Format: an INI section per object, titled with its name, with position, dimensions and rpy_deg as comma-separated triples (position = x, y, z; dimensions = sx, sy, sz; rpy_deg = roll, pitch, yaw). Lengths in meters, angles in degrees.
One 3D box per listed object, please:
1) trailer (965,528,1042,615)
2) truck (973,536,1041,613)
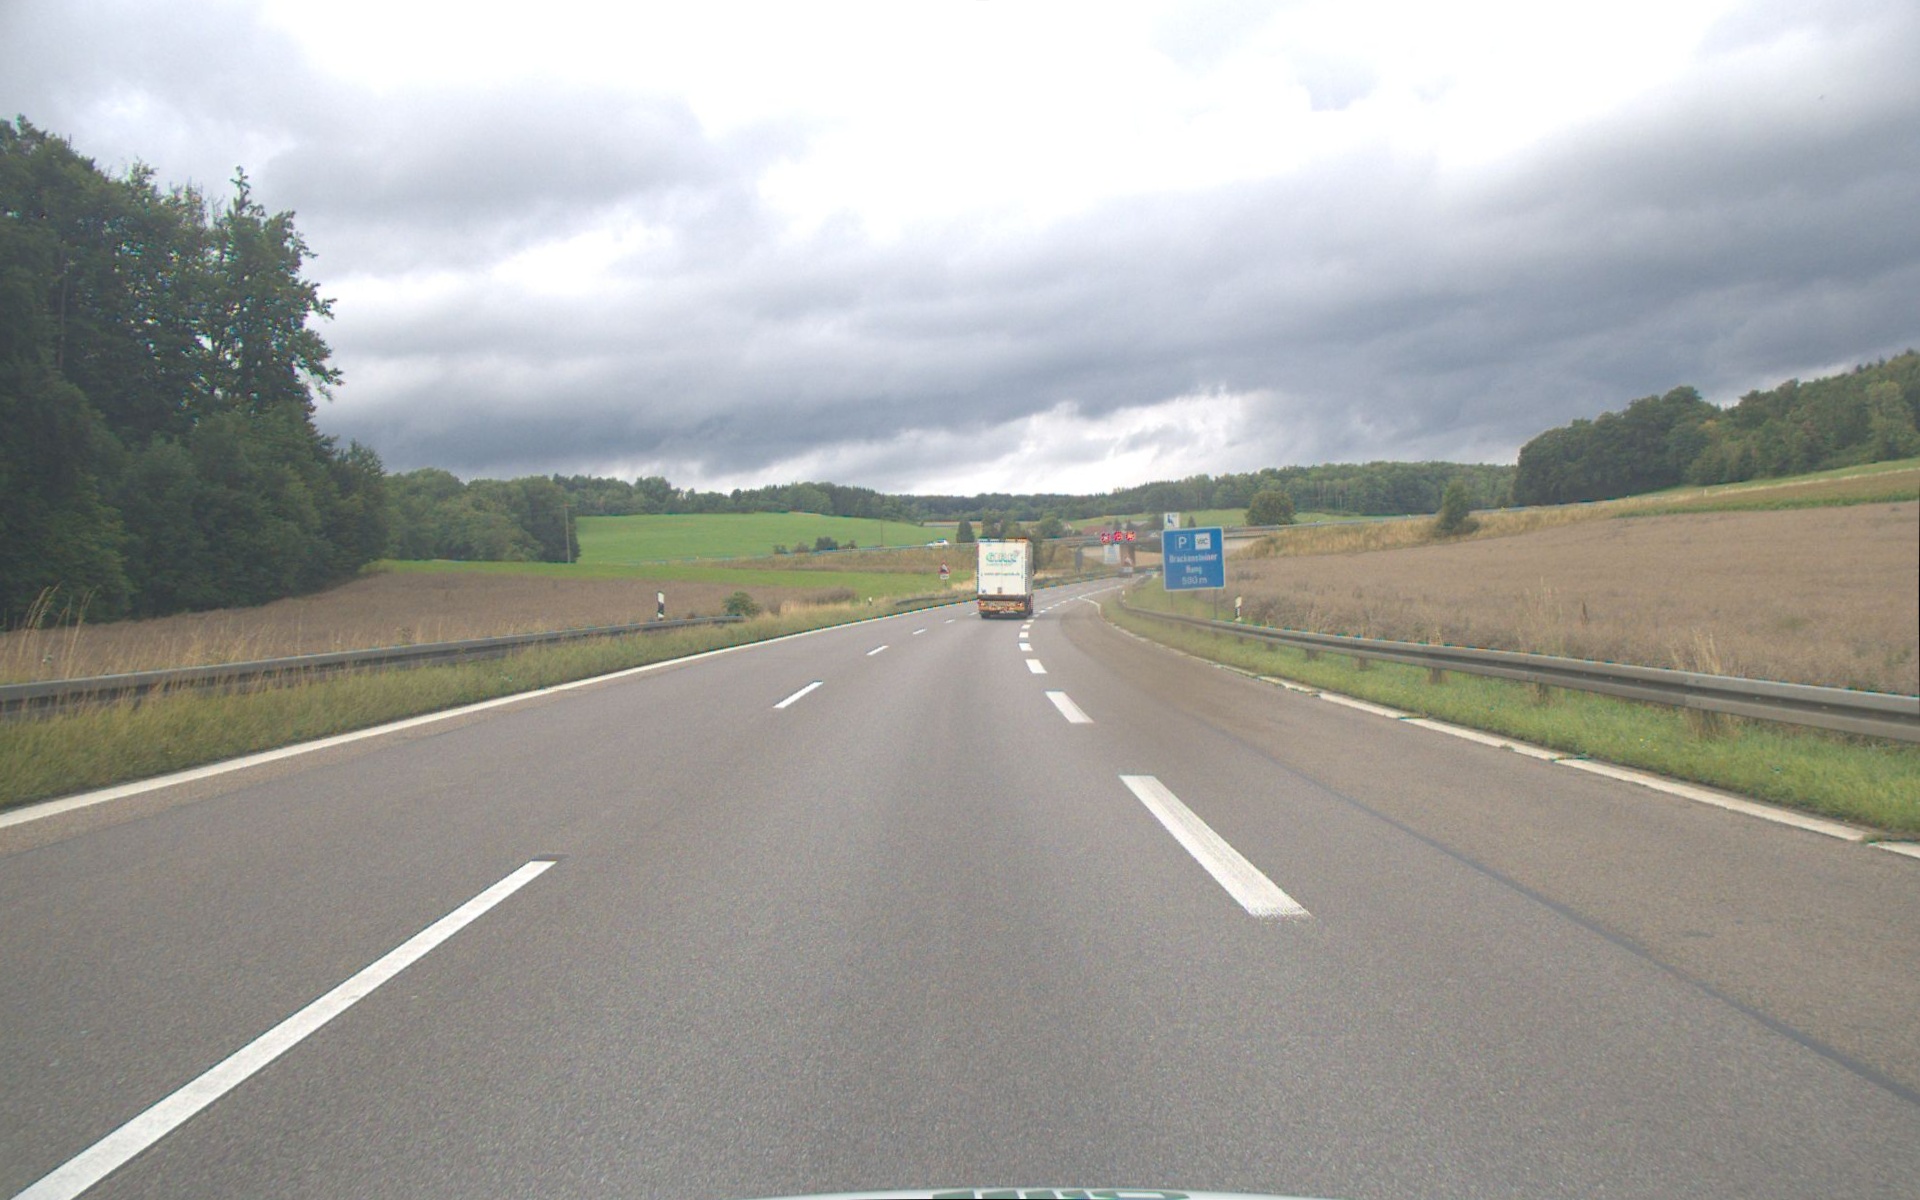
[trailer]
position = 2.486, -1.488, 89.259
dimensions = 3.726, 4.247, 14.814
rpy_deg = -1, 1, 3
[truck]
position = 2.836, -1.442, 96.513
dimensions = 3.708, 4.204, 8.267
rpy_deg = -1, 0, 3
